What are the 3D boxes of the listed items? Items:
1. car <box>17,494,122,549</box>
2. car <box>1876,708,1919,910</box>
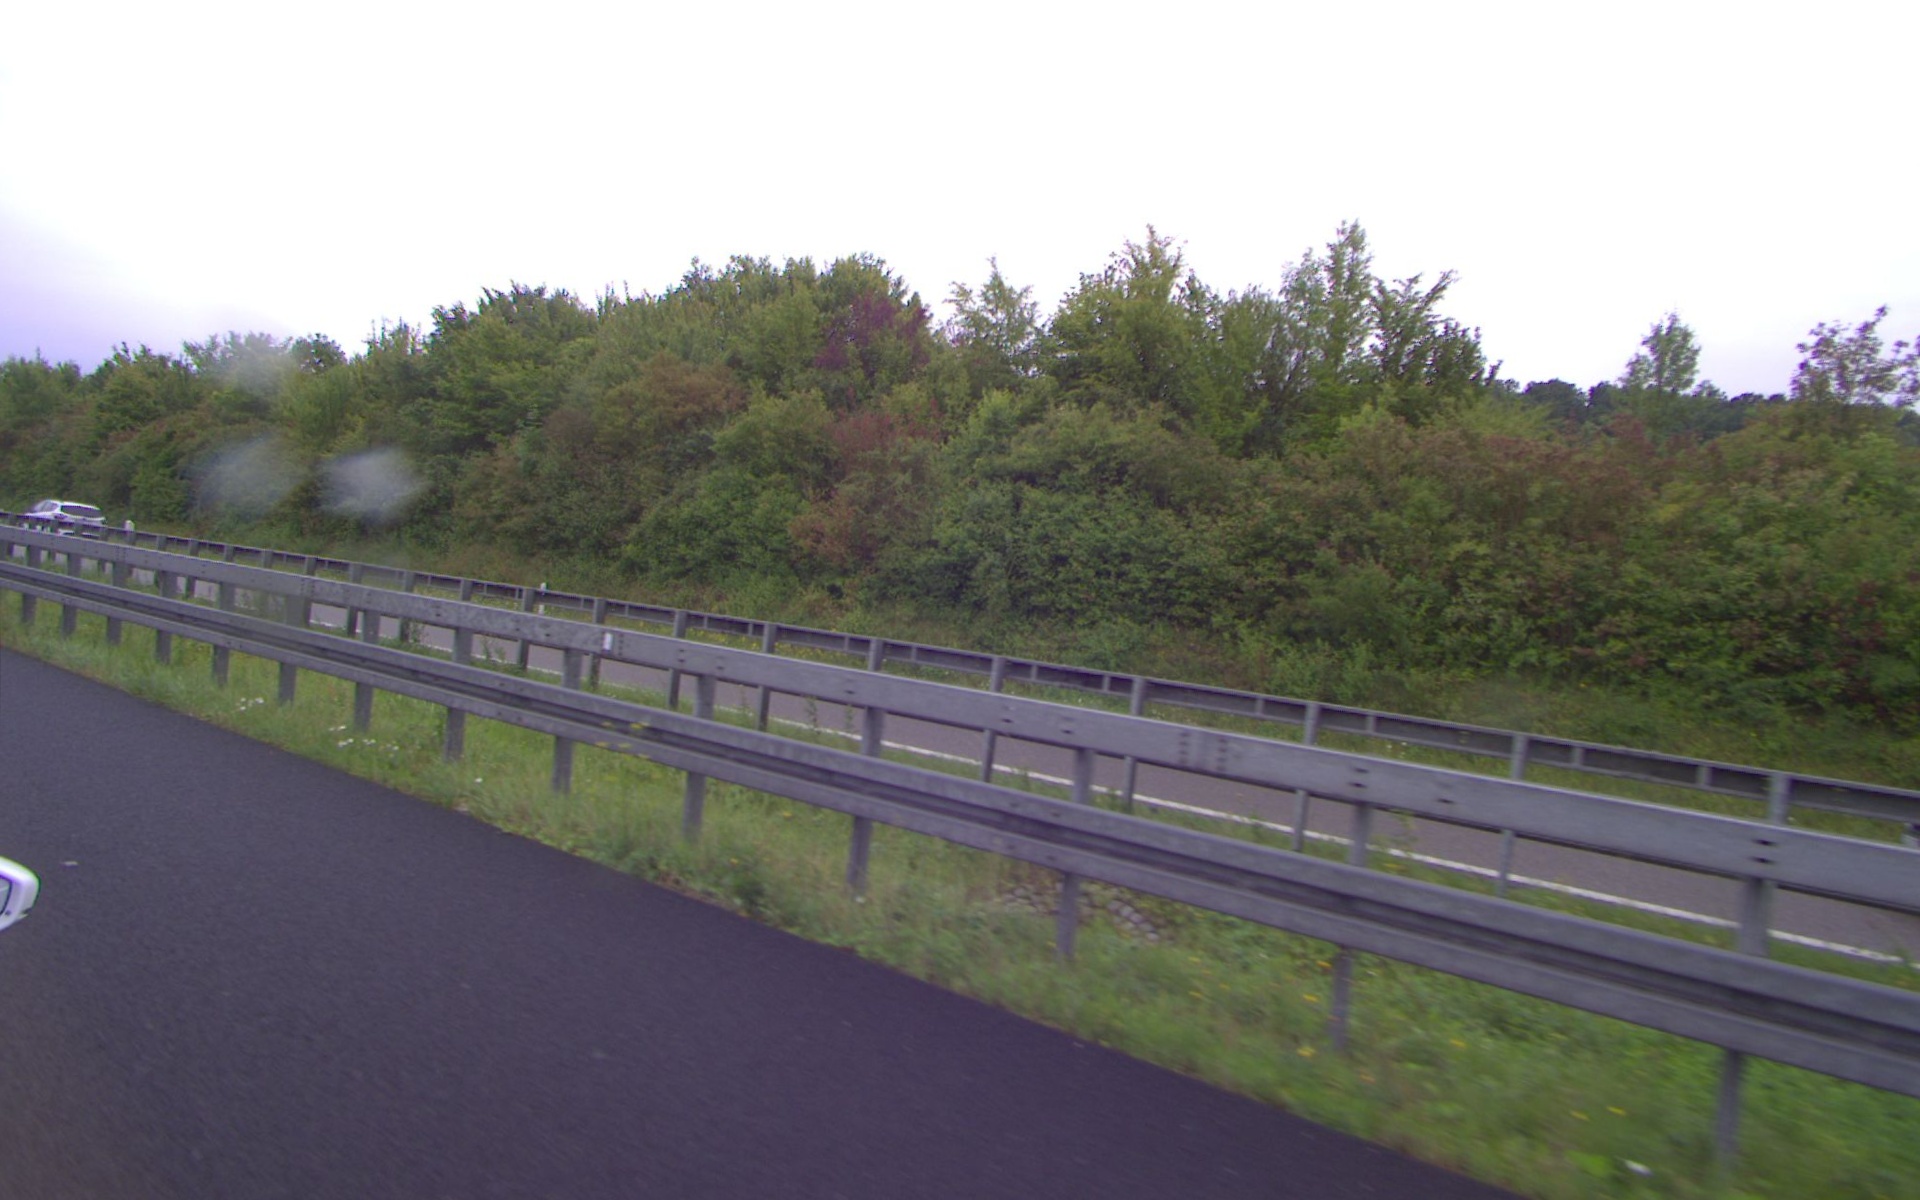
[{"bbox_3d":[-34.621,-3.059,39.094,4.077,1.632,1.899,7,-1,32],"label":"car"},{"bbox_3d":[10.081,1.982,7.453,4.397,1.675,2.011,7,-1,31],"label":"car"}]
